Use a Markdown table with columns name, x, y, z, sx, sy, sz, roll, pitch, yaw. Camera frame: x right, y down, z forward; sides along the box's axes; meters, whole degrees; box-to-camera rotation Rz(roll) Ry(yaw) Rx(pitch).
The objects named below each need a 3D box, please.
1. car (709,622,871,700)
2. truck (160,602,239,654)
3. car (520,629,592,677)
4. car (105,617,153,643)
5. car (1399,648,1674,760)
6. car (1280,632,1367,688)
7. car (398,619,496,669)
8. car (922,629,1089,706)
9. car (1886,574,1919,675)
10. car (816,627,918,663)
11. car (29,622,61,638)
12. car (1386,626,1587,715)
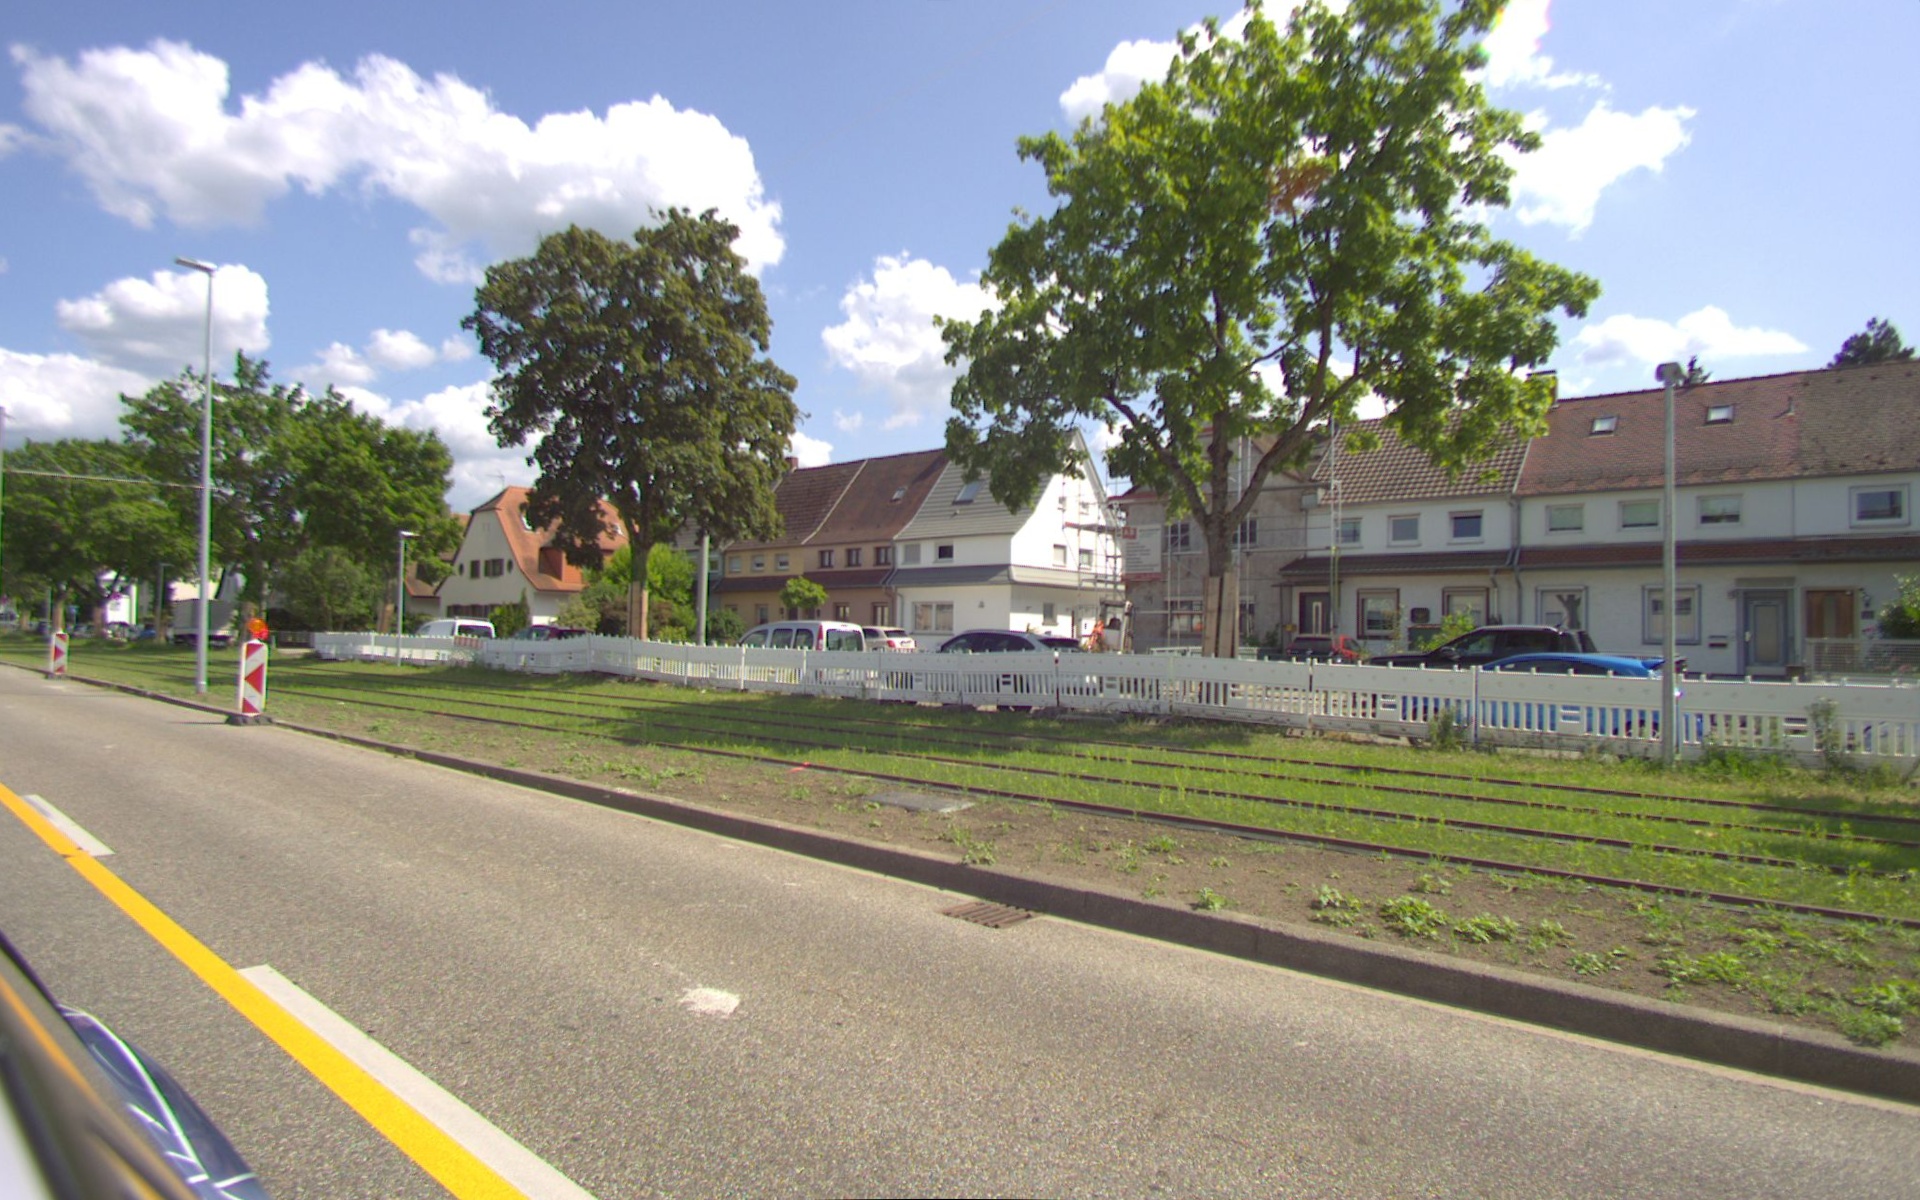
| name | x | y | z | sx | sy | sz | roll | pitch | yaw |
| --- | --- | --- | --- | --- | --- | --- | --- | --- | --- |
| car | -4.076 | 1.398 | 23.952 | 3.896 | 1.664 | 1.606 | 0 | -3 | 40 |
| truck | -42.877 | 1.518 | 57.000 | 5.947 | 2.826 | 2.341 | 0 | 0 | 41 |
| car | -12.178 | 1.580 | 30.468 | 2.449 | 1.358 | 1.060 | -1 | -3 | 44 |
| car | -51.677 | 1.853 | 62.929 | 3.928 | 1.524 | 1.651 | 0 | 0 | 40 |
| car | 7.925 | 1.351 | 14.028 | 3.166 | 1.335 | 1.327 | -1 | -3 | 38 |
| car | 10.012 | 1.611 | 27.819 | 1.285 | 1.390 | 2.776 | 0 | 0 | 43 |
| car | -18.158 | 1.524 | 35.762 | 3.998 | 1.638 | 1.636 | 0 | -3 | 40 |
| car | 0.856 | 1.300 | 19.834 | 3.112 | 1.388 | 1.336 | -2 | -4 | 40 |
| car | 21.182 | 0.490 | 20.103 | 3.997 | 2.029 | 1.973 | 0 | 0 | 40 |
| car | -3.659 | 1.740 | 39.381 | 4.117 | 1.285 | 1.518 | 0 | -3 | 40 |
| car | -80.892 | 2.669 | 89.447 | 3.997 | 1.311 | 1.616 | 0 | 0 | 41 |
| car | 9.696 | 1.248 | 18.725 | 3.091 | 1.506 | 1.342 | -1 | -3 | 40 |
